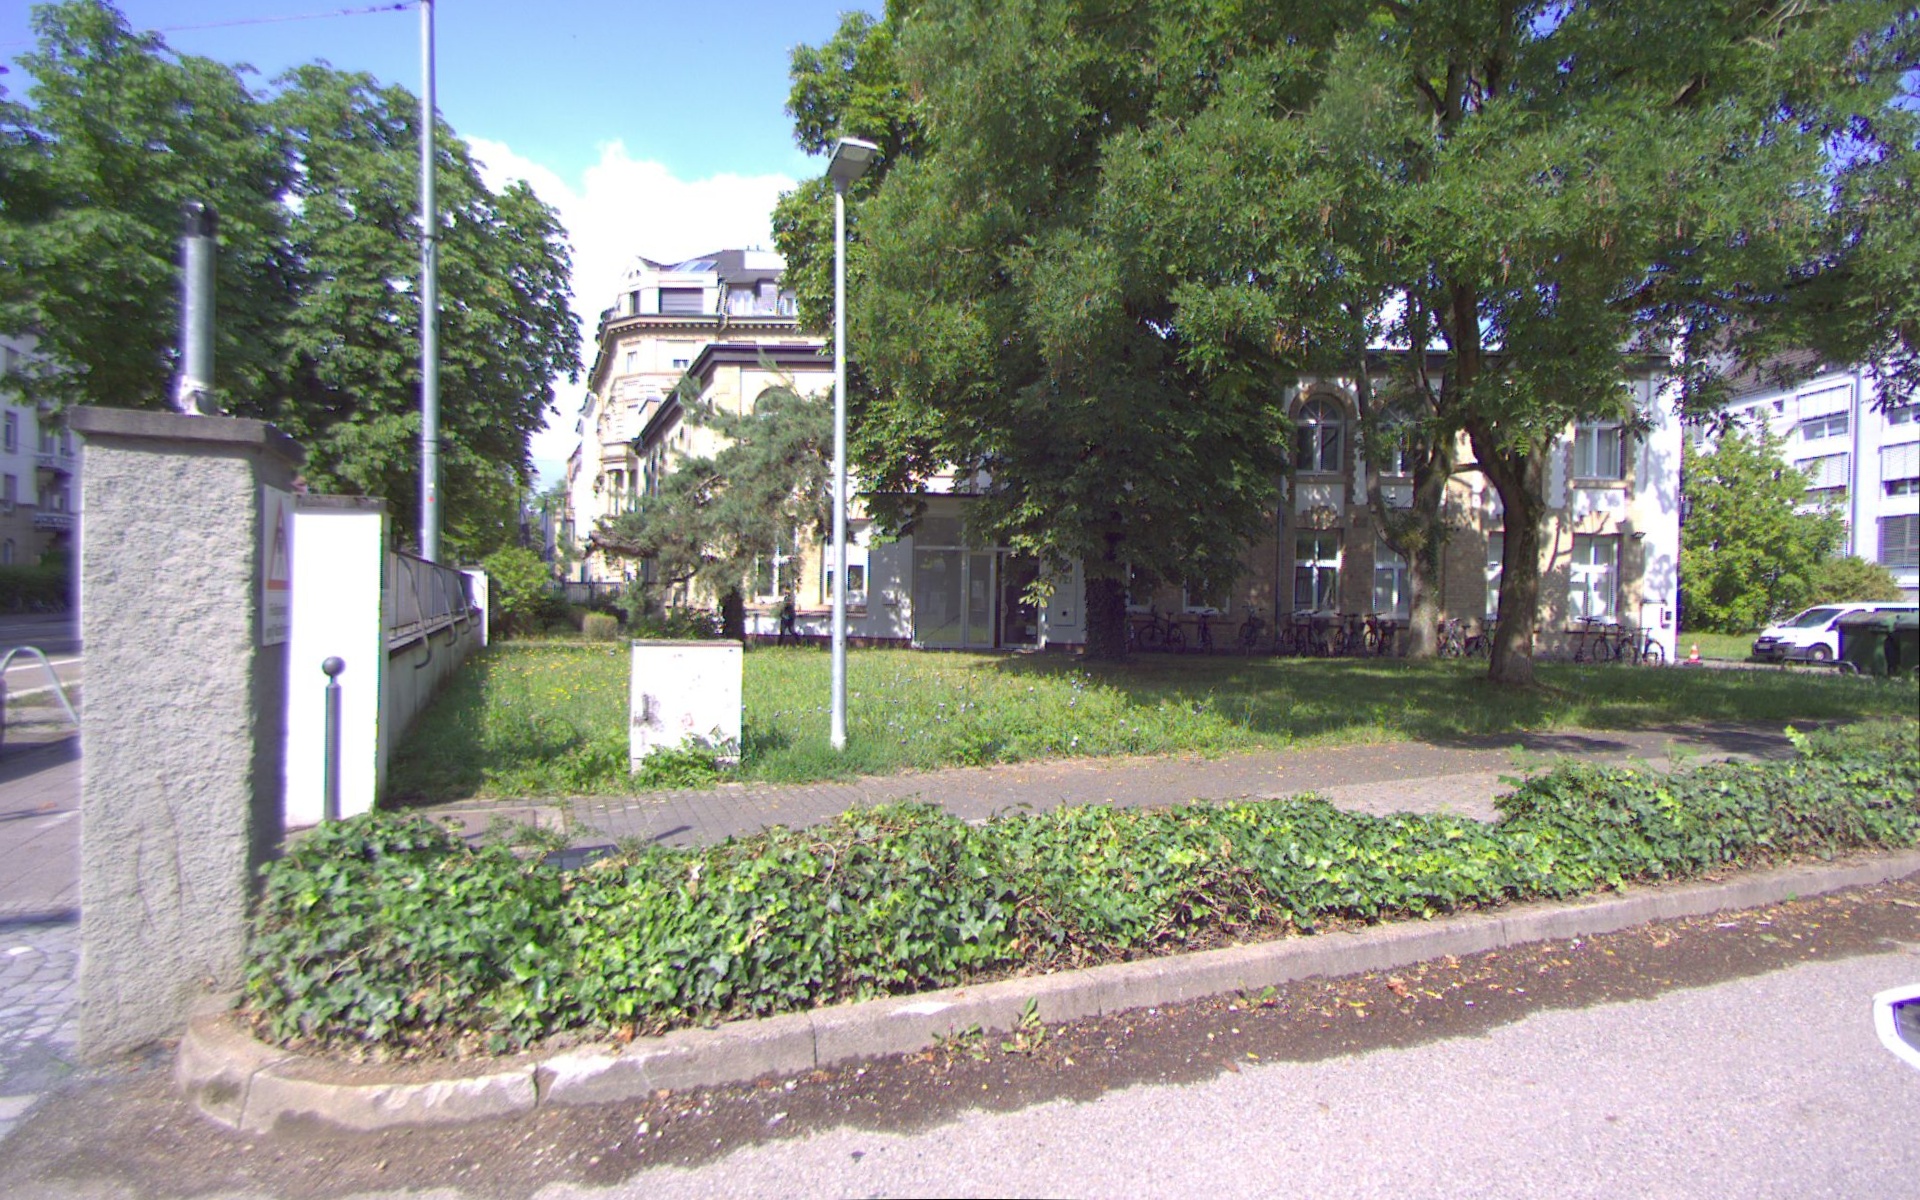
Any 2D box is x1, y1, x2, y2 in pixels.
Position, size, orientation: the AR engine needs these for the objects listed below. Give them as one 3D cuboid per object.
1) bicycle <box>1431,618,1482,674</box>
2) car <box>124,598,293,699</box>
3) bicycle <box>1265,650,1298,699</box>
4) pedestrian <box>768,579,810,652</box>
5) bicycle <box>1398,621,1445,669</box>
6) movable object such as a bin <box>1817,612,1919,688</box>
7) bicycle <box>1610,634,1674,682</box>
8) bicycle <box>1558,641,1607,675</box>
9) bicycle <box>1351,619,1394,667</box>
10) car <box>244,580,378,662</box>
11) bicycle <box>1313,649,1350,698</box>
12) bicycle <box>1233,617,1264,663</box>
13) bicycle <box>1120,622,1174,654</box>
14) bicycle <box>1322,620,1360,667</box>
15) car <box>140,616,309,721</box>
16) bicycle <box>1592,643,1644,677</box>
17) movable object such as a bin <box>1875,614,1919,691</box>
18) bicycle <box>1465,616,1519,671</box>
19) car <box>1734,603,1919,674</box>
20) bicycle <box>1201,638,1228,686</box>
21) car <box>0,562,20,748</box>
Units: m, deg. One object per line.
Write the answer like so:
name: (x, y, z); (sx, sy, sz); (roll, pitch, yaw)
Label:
bicycle: (12.217, 1.112, 24.757); (0.411, 1.138, 2.067); (3, 4, 8)
car: (-13.079, 0.777, 17.684); (1.649, 1.506, 3.260); (1, 1, -23)
bicycle: (7.966, 1.827, 24.923); (0.411, 1.070, 2.068); (0, 0, 8)
pedestrian: (-4.119, 0.361, 24.268); (0.757, 1.700, 0.809); (3, 1, 3)
bicycle: (11.343, 1.079, 24.739); (0.411, 1.070, 2.068); (3, 0, 8)
movable object such as a bin: (17.965, 0.958, 19.756); (0.928, 1.367, 1.381); (3, 0, -3)
bicycle: (16.572, 1.387, 24.440); (0.314, 1.051, 1.860); (3, 0, 3)
bicycle: (15.299, 1.409, 24.725); (0.314, 0.715, 1.861); (3, 0, 10)
bicycle: (10.179, 1.045, 24.830); (0.411, 1.070, 2.068); (3, 0, 8)
car: (-15.624, 0.448, 24.397); (1.938, 1.728, 3.978); (3, 0, -22)
bicycle: (9.227, 1.802, 25.006); (0.411, 1.070, 2.068); (0, 0, 7)
bicycle: (7.114, 0.967, 24.815); (0.411, 1.070, 2.068); (0, 0, 8)
bicycle: (4.872, 0.987, 26.209); (1.365, 0.832, 0.420); (0, 0, 5)
bicycle: (9.431, 1.055, 24.930); (0.411, 1.070, 2.068); (0, 0, 8)
car: (-12.810, 1.176, 17.728); (1.656, 1.632, 3.565); (0, -3, -24)
bicycle: (16.031, 1.442, 24.508); (0.314, 0.715, 1.861); (3, 0, 10)
movable object such as a bin: (17.759, 0.979, 18.318); (0.928, 1.367, 1.233); (3, 1, -3)
bicycle: (12.992, 1.034, 24.589); (0.411, 1.231, 2.068); (3, 0, 8)
car: (26.607, 1.177, 30.296); (4.855, 1.990, 2.001); (1, -2, 5)
bicycle: (6.343, 1.520, 25.085); (0.411, 1.070, 2.068); (0, 0, 8)
car: (-8.616, 0.476, 7.181); (1.656, 1.633, 3.563); (-1, 0, -24)
